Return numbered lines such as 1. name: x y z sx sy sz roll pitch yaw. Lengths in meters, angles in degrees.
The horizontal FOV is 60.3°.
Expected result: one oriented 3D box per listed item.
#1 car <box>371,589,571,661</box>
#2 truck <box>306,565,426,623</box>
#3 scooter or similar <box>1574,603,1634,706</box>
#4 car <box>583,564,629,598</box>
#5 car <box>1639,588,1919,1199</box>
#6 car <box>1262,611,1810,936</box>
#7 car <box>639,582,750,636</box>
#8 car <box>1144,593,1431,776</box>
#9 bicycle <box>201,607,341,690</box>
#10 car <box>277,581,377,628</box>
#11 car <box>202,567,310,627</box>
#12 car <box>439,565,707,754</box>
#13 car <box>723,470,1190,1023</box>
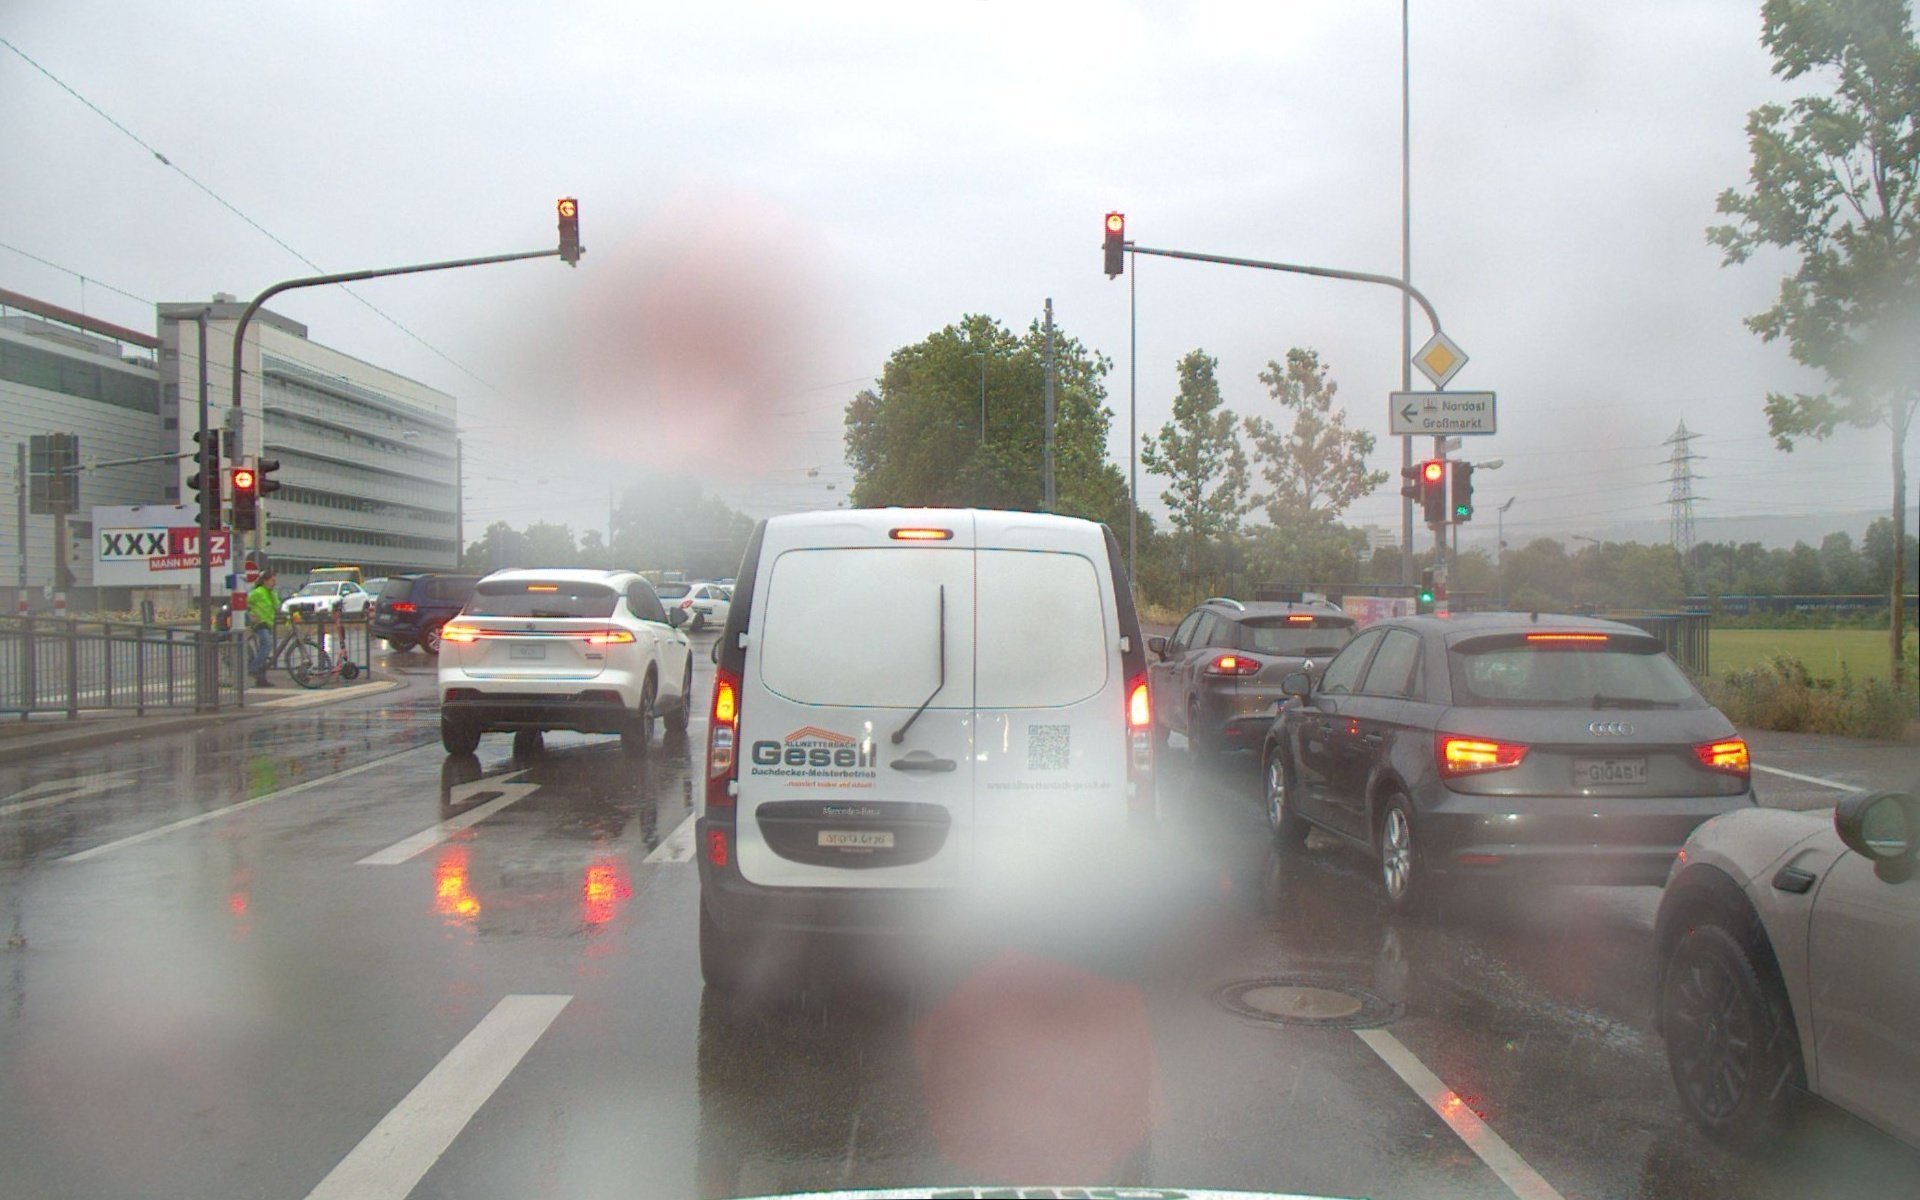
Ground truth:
1. car: -10.390 0.532 35.275 3.825 1.447 1.490 1 0 -37
2. truck: -25.091 -0.230 70.240 2.303 2.319 7.632 1 0 0
3. scooter or similar: 7.616 0.624 19.591 0.240 1.178 1.186 1 0 1
4. car: -22.189 -1.178 103.798 1.952 2.049 4.000 1 0 1
5. car: 2.944 0.757 3.184 1.679 1.534 3.622 1 0 -2
6. car: 2.824 0.762 8.951 1.596 1.368 3.622 1 0 -2
7. car: -7.774 0.269 48.789 1.581 1.530 3.715 1 0 21
8. car: 2.915 0.694 15.545 1.822 1.453 3.806 1 1 -2
9. bicycle: -9.696 0.681 23.291 1.716 1.052 0.414 4 -1 -3
10. car: -21.671 0.157 56.785 1.662 1.518 3.878 1 0 5
11. car: -25.294 -0.100 59.588 1.952 2.049 4.002 1 0 3
12. car: -3.583 0.475 16.068 1.694 1.562 4.296 1 1 -2
13. car: -0.035 0.488 7.471 1.534 1.819 3.999 0 0 -1
